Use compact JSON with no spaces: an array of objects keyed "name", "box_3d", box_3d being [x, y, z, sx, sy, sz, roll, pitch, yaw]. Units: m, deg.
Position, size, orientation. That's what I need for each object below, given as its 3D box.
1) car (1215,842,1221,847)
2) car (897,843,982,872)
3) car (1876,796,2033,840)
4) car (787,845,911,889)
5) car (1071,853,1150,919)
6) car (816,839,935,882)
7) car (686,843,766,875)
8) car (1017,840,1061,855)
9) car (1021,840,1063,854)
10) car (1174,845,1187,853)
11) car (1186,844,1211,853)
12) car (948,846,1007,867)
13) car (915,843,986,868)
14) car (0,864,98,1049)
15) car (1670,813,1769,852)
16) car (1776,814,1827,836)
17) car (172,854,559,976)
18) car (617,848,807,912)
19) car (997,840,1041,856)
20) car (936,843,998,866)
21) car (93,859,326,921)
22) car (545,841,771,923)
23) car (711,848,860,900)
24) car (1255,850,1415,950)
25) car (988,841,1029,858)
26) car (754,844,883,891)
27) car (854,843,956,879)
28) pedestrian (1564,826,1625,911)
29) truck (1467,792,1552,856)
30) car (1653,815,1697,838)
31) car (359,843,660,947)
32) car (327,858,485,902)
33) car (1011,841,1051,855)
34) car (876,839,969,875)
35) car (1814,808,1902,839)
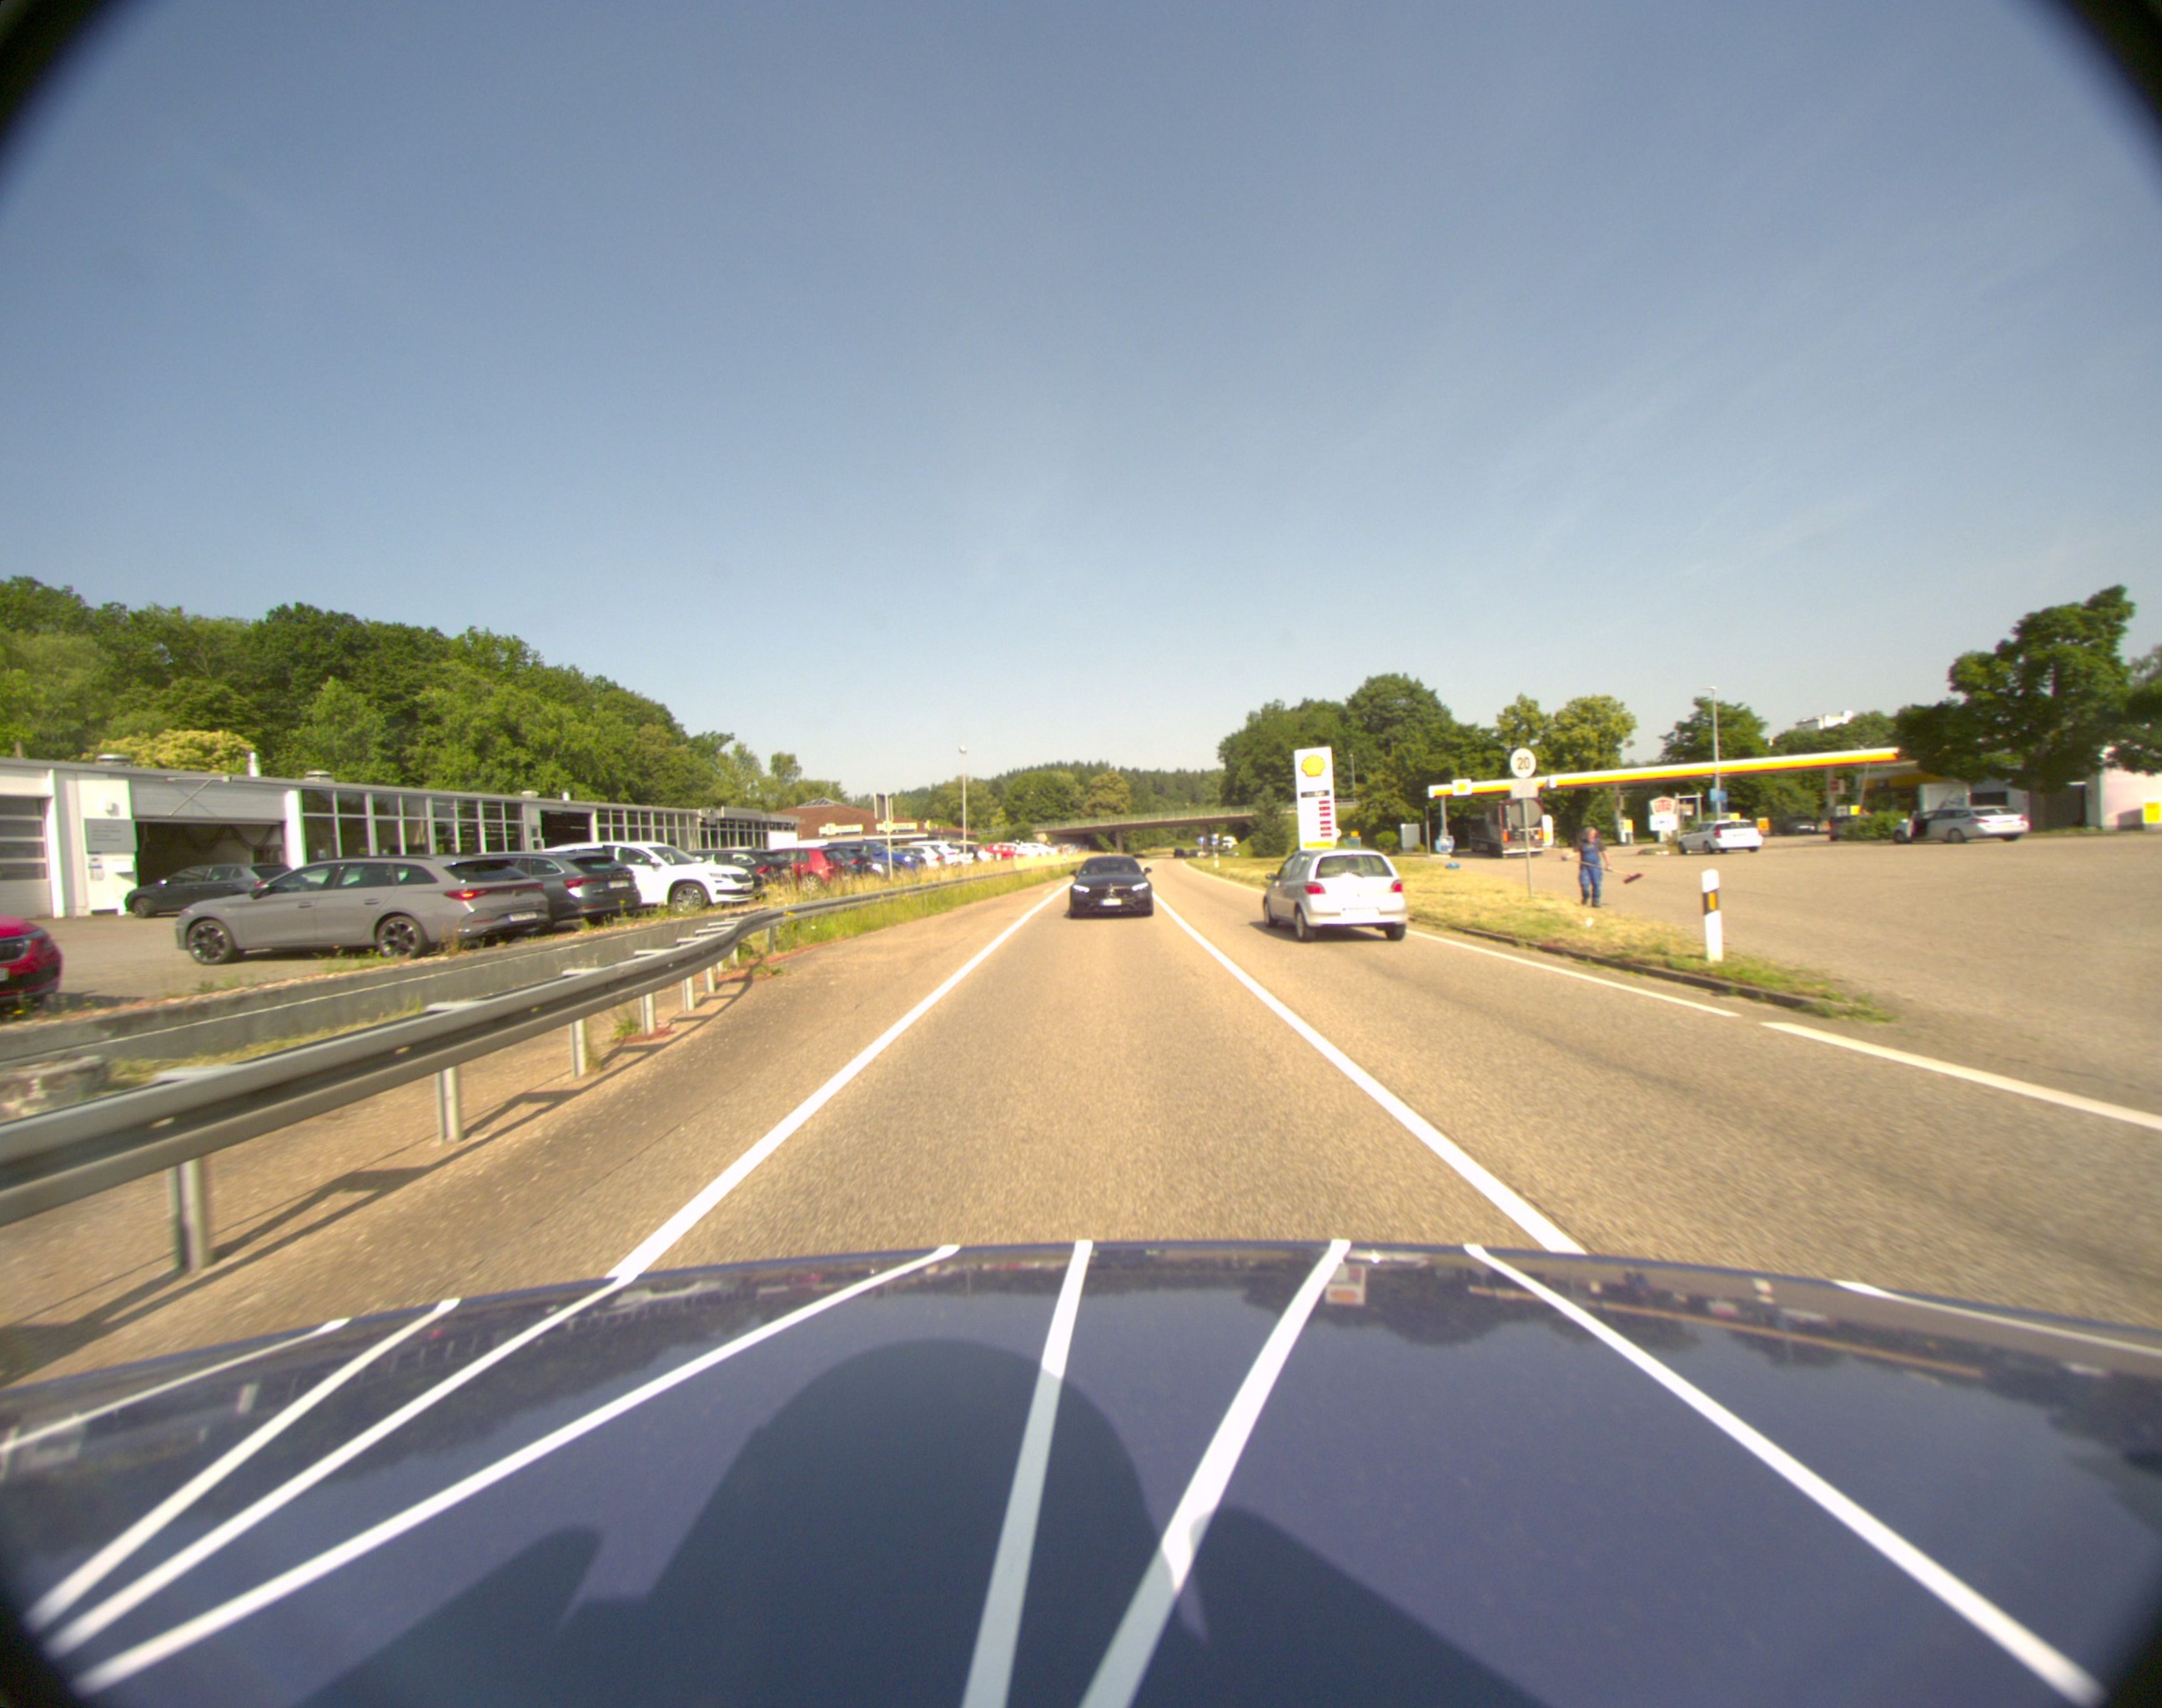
[{"name":"car","box_3d":[39.959,-2.835,221.192,1.680,1.348,3.924,-1,1,8]},{"name":"car","box_3d":[-7.932,0.168,42.808,4.358,1.486,1.880,-1,1,6]},{"name":"car","box_3d":[35.489,-1.386,31.094,1.718,1.557,4.661,-2,0,11]},{"name":"car","box_3d":[-8.756,0.470,28.898,3.996,1.444,1.951,-2,1,3]},{"name":"car","box_3d":[0.809,0.709,18.862,1.715,1.382,4.148,-1,1,5]},{"name":"car","box_3d":[-8.551,0.245,31.874,4.365,1.630,1.951,-2,1,5]},{"name":"car","box_3d":[-22.952,0.305,49.186,4.319,1.914,1.791,-1,1,4]},{"name":"car","box_3d":[-4.591,-0.716,83.543,4.570,1.456,1.877,-1,1,5]},{"name":"car","box_3d":[-4.412,-0.782,87.076,4.570,1.456,1.877,-1,1,5]},{"name":"car","box_3d":[16.510,-0.827,126.420,1.681,1.348,3.922,-1,1,2]},{"name":"car","box_3d":[15.479,-0.706,100.316,1.810,1.166,4.094,-1,1,-16]},{"name":"car","box_3d":[-7.699,0.189,56.708,3.995,1.456,1.877,-1,1,5]},{"name":"car","box_3d":[-8.636,0.069,50.507,4.294,1.543,2.032,-1,1,2]},{"name":"car","box_3d":[-11.238,0.932,6.271,4.092,1.543,1.781,-1,1,4]},{"name":"car","box_3d":[28.719,-0.934,34.366,1.717,1.557,4.663,-2,0,17]},{"name":"car","box_3d":[51.718,-2.095,54.607,1.994,1.451,4.007,-3,1,34]},{"name":"car","box_3d":[-10.079,0.812,10.947,3.847,1.450,1.745,-2,1,0]},{"name":"car","box_3d":[-9.603,0.644,20.019,3.996,1.444,1.951,-2,1,3]},{"name":"car","box_3d":[-5.958,-0.585,73.364,3.995,1.456,1.877,-1,1,5]},{"name":"car","box_3d":[-8.007,0.011,53.648,3.995,1.543,1.806,-1,1,5]},{"name":"car","box_3d":[-24.947,0.996,21.902,4.323,1.556,1.789,-1,1,-5]},{"name":"car","box_3d":[-9.390,0.595,17.042,3.994,1.623,1.922,-2,1,8]},{"name":"car","box_3d":[-8.910,0.576,23.127,3.739,1.398,1.823,-2,1,3]},{"name":"car","box_3d":[4.244,0.683,13.271,1.681,1.464,3.707,-1,1,3]},{"name":"car","box_3d":[-6.743,-0.403,70.893,3.545,1.456,1.805,-1,1,5]},{"name":"car","box_3d":[-8.973,0.443,26.146,3.742,1.420,1.779,-2,1,3]},{"name":"car","box_3d":[-7.890,0.300,34.265,4.047,1.499,1.807,-1,1,7]},{"name":"pedestrian","box_3d":[10.650,0.282,15.803,0.848,1.680,1.145,-1,1,24]},{"name":"truck","box_3d":[32.177,-2.197,57.877,3.056,4.111,16.793,-2,1,21]},{"name":"car","box_3d":[45.918,-2.138,58.821,1.905,1.633,4.006,-3,1,28]},{"name":"car","box_3d":[-10.138,0.684,13.696,3.995,1.623,1.921,-2,1,5]},{"name":"car","box_3d":[-25.263,0.957,28.546,4.320,1.456,1.790,-1,1,2]},{"name":"car","box_3d":[-5.225,-0.637,79.730,3.995,1.456,1.877,-1,1,5]},{"name":"car","box_3d":[-7.709,0.125,37.182,4.053,1.608,1.880,-1,1,7]},{"name":"car","box_3d":[44.156,-1.742,43.211,4.321,1.557,1.718,-3,0,-18]}]
